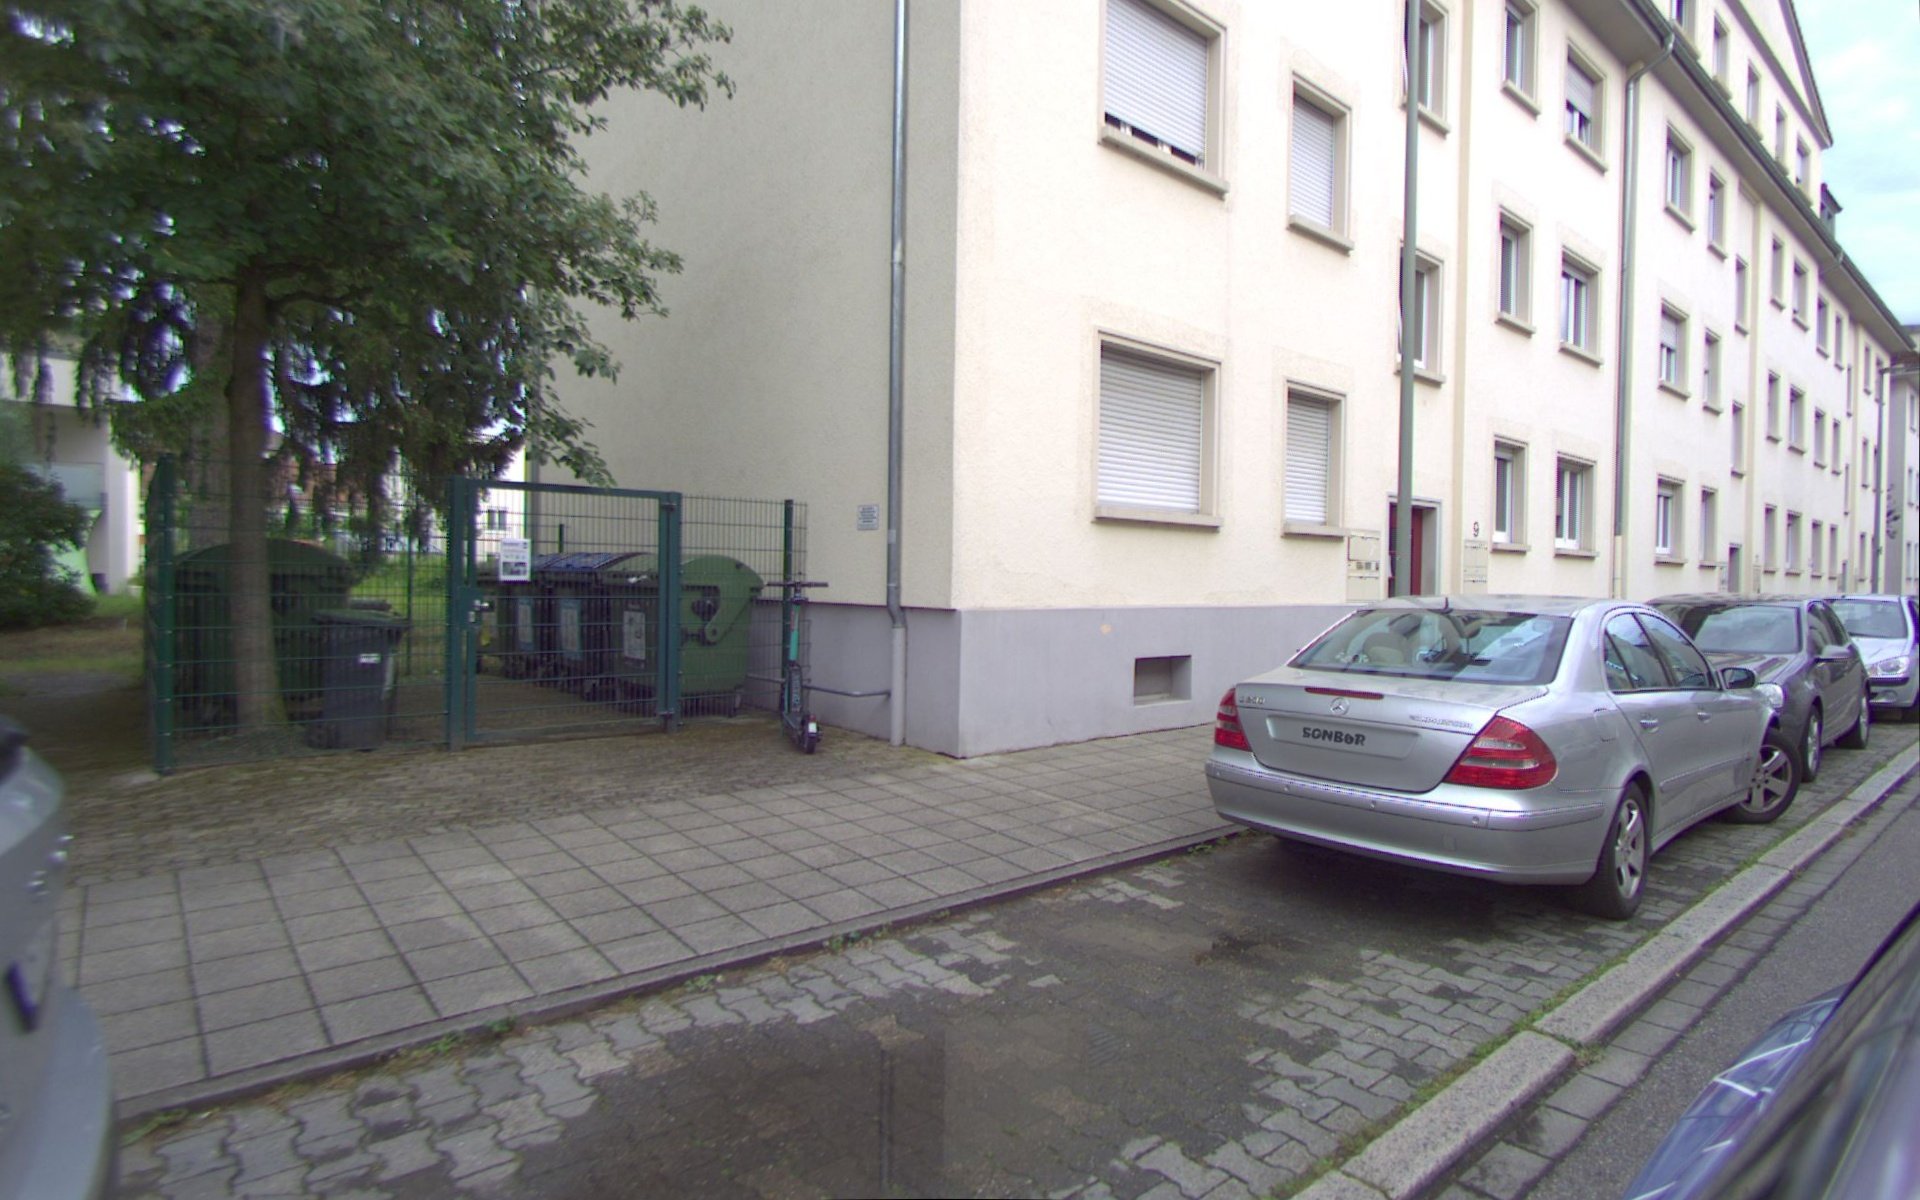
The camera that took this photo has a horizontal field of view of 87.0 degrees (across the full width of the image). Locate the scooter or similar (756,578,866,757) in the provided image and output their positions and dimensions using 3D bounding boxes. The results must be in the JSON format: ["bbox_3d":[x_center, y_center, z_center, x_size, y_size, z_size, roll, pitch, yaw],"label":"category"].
[{"bbox_3d":[-1.183,0.472,7.878,0.512,1.261,1.284,1,1,-23],"label":"scooter or similar"}]

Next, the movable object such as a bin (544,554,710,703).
[{"bbox_3d":[-3.392,0.243,10.302,1.283,1.396,1.111,0,2,-41],"label":"movable object such as a bin"}]

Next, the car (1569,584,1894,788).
[{"bbox_3d":[7.161,0.610,9.266,3.801,1.495,1.606,0,1,-40],"label":"car"}]

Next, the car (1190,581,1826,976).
[{"bbox_3d":[3.427,0.656,5.907,4.423,1.495,1.729,0,1,-39],"label":"car"}]

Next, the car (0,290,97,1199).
[{"bbox_3d":[-2.905,0.555,0.271,4.018,1.662,1.824,0,2,-40],"label":"car"}]

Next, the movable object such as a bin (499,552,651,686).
[{"bbox_3d":[-4.356,0.176,11.440,1.283,1.396,1.194,0,2,-41],"label":"movable object such as a bin"}]

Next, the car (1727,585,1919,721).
[{"bbox_3d":[11.354,0.561,12.911,3.767,1.468,1.851,0,1,-42],"label":"car"}]

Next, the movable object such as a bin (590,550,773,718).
[{"bbox_3d":[-2.530,0.262,9.211,1.283,1.396,1.034,0,2,-41],"label":"movable object such as a bin"}]

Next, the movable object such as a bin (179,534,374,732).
[{"bbox_3d":[-5.385,0.212,7.962,1.198,1.396,1.141,0,2,-38],"label":"movable object such as a bin"}]

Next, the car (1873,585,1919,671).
[{"bbox_3d":[18.911,0.502,19.358,3.991,1.536,1.728,0,1,-42],"label":"car"}]

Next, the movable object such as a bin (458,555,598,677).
[{"bbox_3d":[-5.308,0.162,12.433,1.283,1.396,1.194,0,2,-41],"label":"movable object such as a bin"}]

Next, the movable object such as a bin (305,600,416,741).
[{"bbox_3d":[-4.417,0.492,7.457,0.636,0.964,0.556,0,2,-38],"label":"movable object such as a bin"}]
